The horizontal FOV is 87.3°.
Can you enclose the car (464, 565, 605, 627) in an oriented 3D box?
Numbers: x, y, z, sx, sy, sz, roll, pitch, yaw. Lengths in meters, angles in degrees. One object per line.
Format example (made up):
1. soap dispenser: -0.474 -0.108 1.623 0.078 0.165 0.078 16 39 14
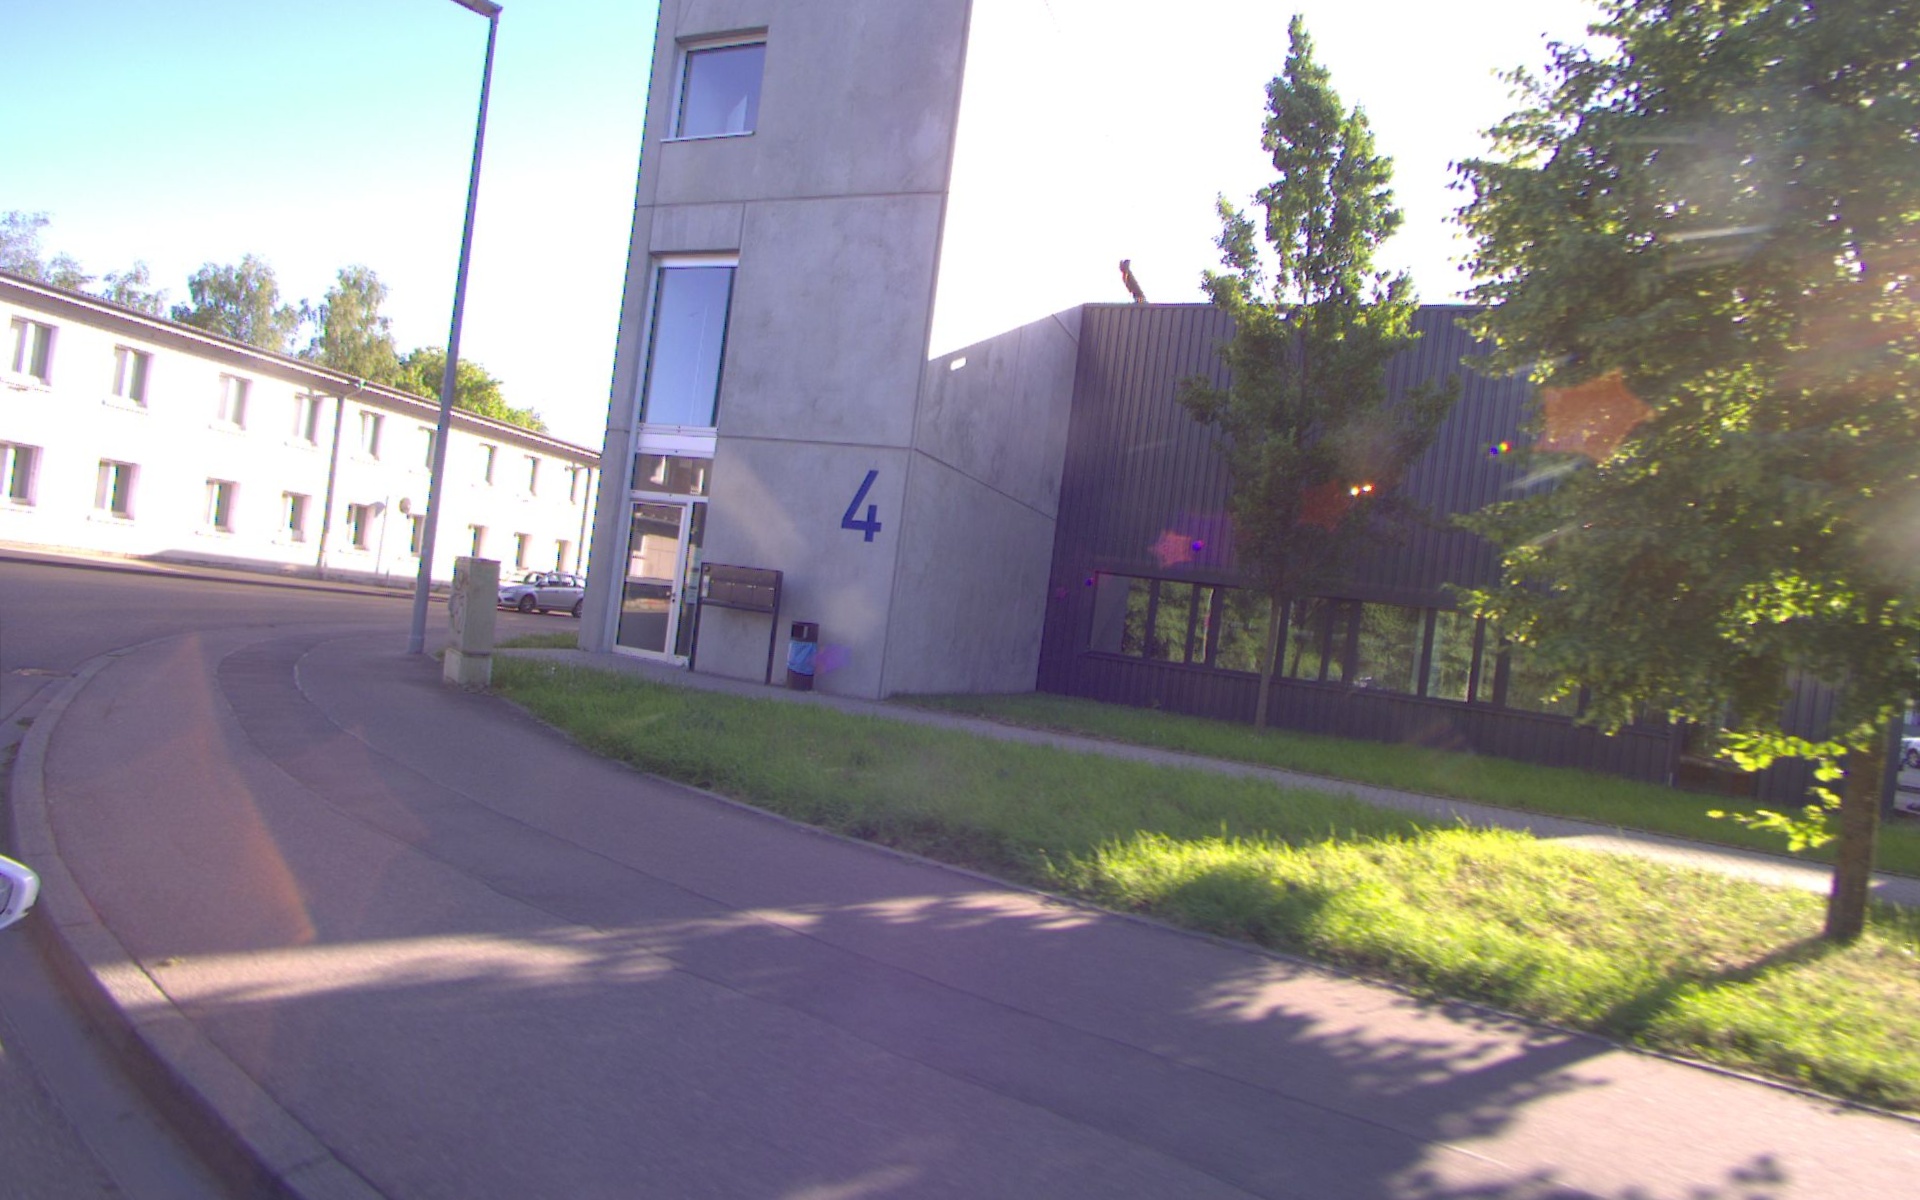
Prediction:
1. car: -14.436 -0.088 34.425 1.712 1.522 4.506 8 -2 19
